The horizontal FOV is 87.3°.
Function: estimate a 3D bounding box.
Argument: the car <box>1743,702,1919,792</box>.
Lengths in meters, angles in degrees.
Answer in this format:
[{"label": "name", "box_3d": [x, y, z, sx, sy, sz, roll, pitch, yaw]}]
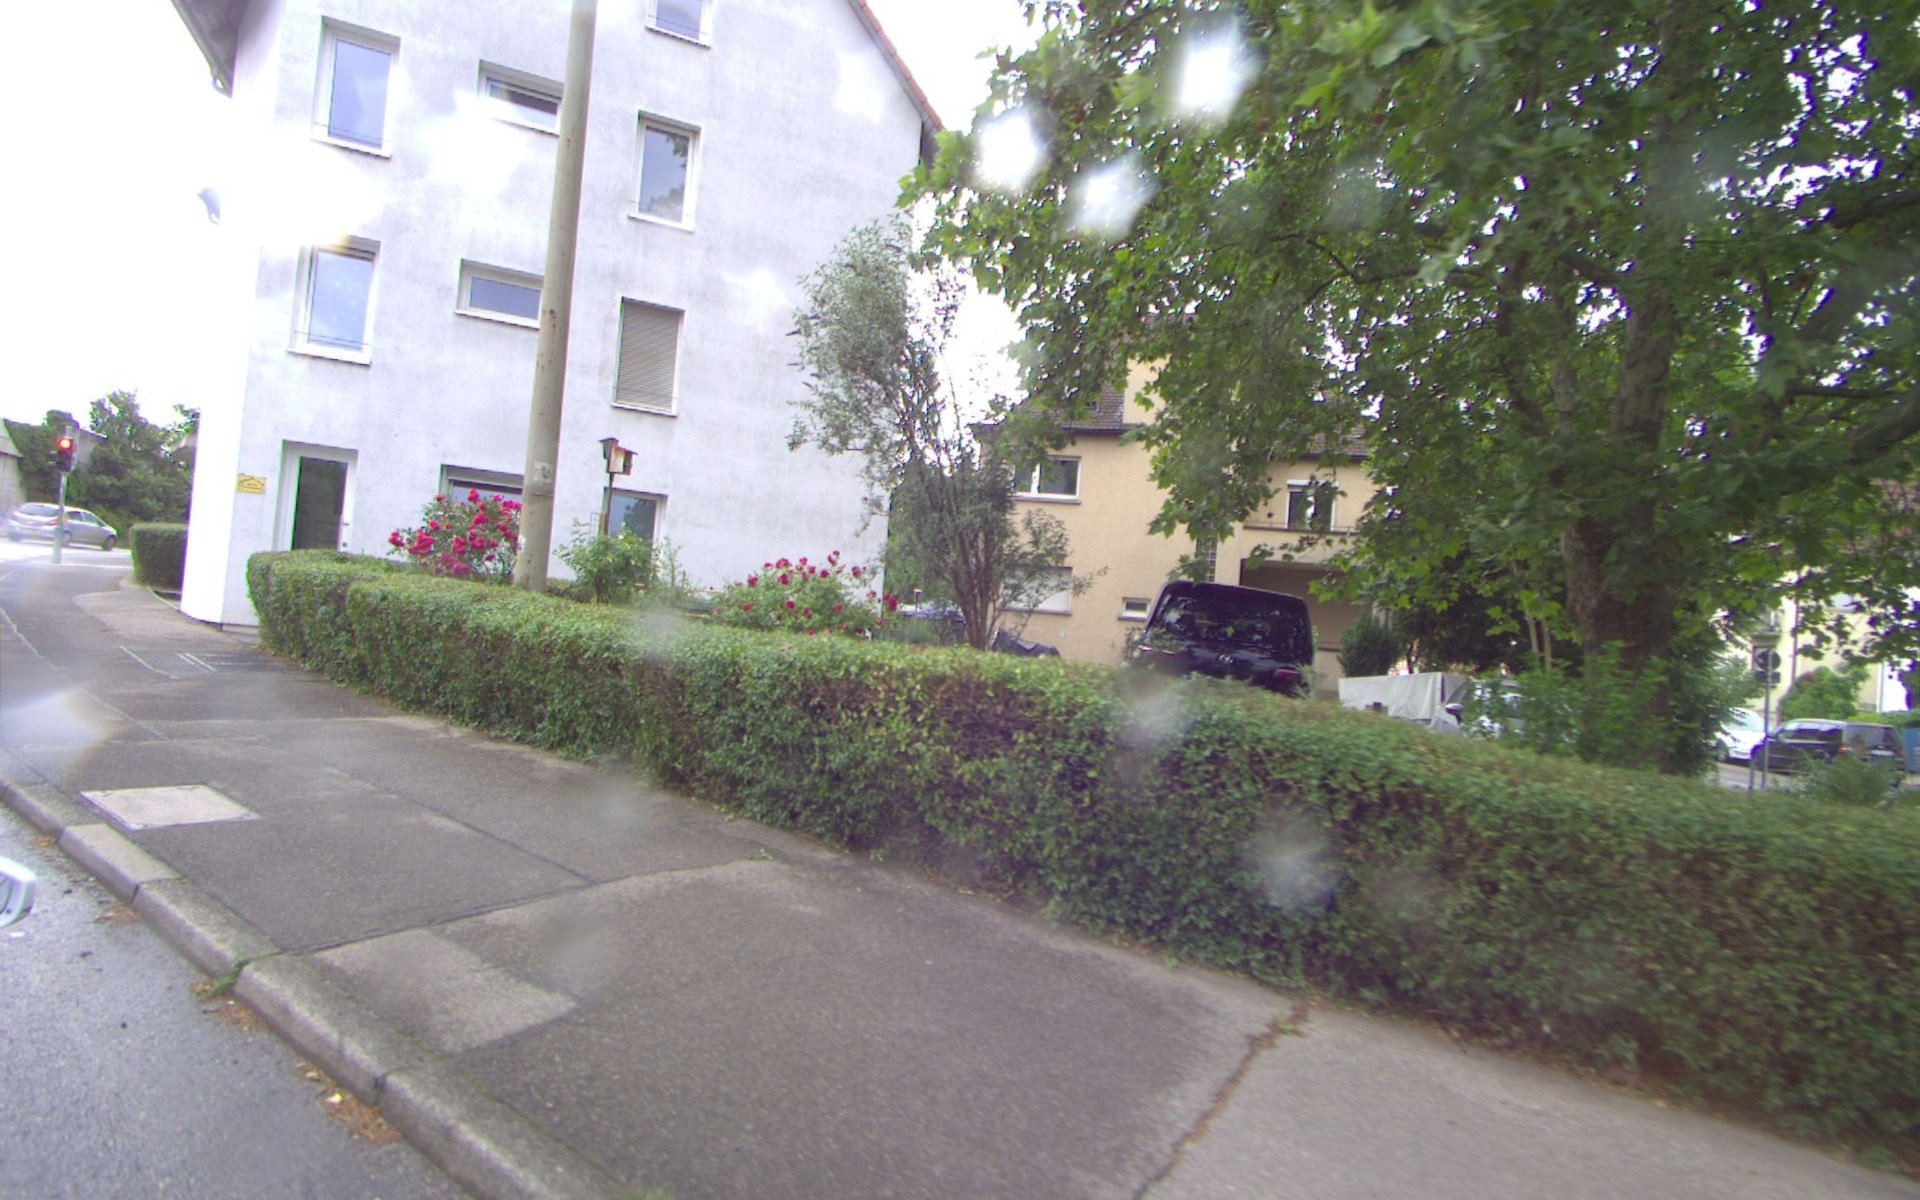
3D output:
[{"label": "car", "box_3d": [24.613, 4.061, 28.327, 1.962, 1.861, 4.583, 6, -1, 9]}]

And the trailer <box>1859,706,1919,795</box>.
[{"label": "trailer", "box_3d": [24.038, 3.783, 24.317, 1.640, 2.038, 3.494, 6, -1, 8]}]

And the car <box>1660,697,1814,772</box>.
[{"label": "car", "box_3d": [25.737, 4.387, 33.564, 1.962, 1.861, 4.583, 6, -1, 9]}]

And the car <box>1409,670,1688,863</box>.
[{"label": "car", "box_3d": [6.610, 1.752, 11.823, 1.788, 1.599, 4.003, 6, -1, 17]}]

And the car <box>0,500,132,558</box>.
[{"label": "car", "box_3d": [-33.234, -2.594, 37.417, 1.967, 1.572, 3.995, 6, -2, -11]}]

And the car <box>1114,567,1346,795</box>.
[{"label": "car", "box_3d": [2.984, 0.858, 11.807, 1.962, 1.955, 4.419, 6, -1, 11]}]
